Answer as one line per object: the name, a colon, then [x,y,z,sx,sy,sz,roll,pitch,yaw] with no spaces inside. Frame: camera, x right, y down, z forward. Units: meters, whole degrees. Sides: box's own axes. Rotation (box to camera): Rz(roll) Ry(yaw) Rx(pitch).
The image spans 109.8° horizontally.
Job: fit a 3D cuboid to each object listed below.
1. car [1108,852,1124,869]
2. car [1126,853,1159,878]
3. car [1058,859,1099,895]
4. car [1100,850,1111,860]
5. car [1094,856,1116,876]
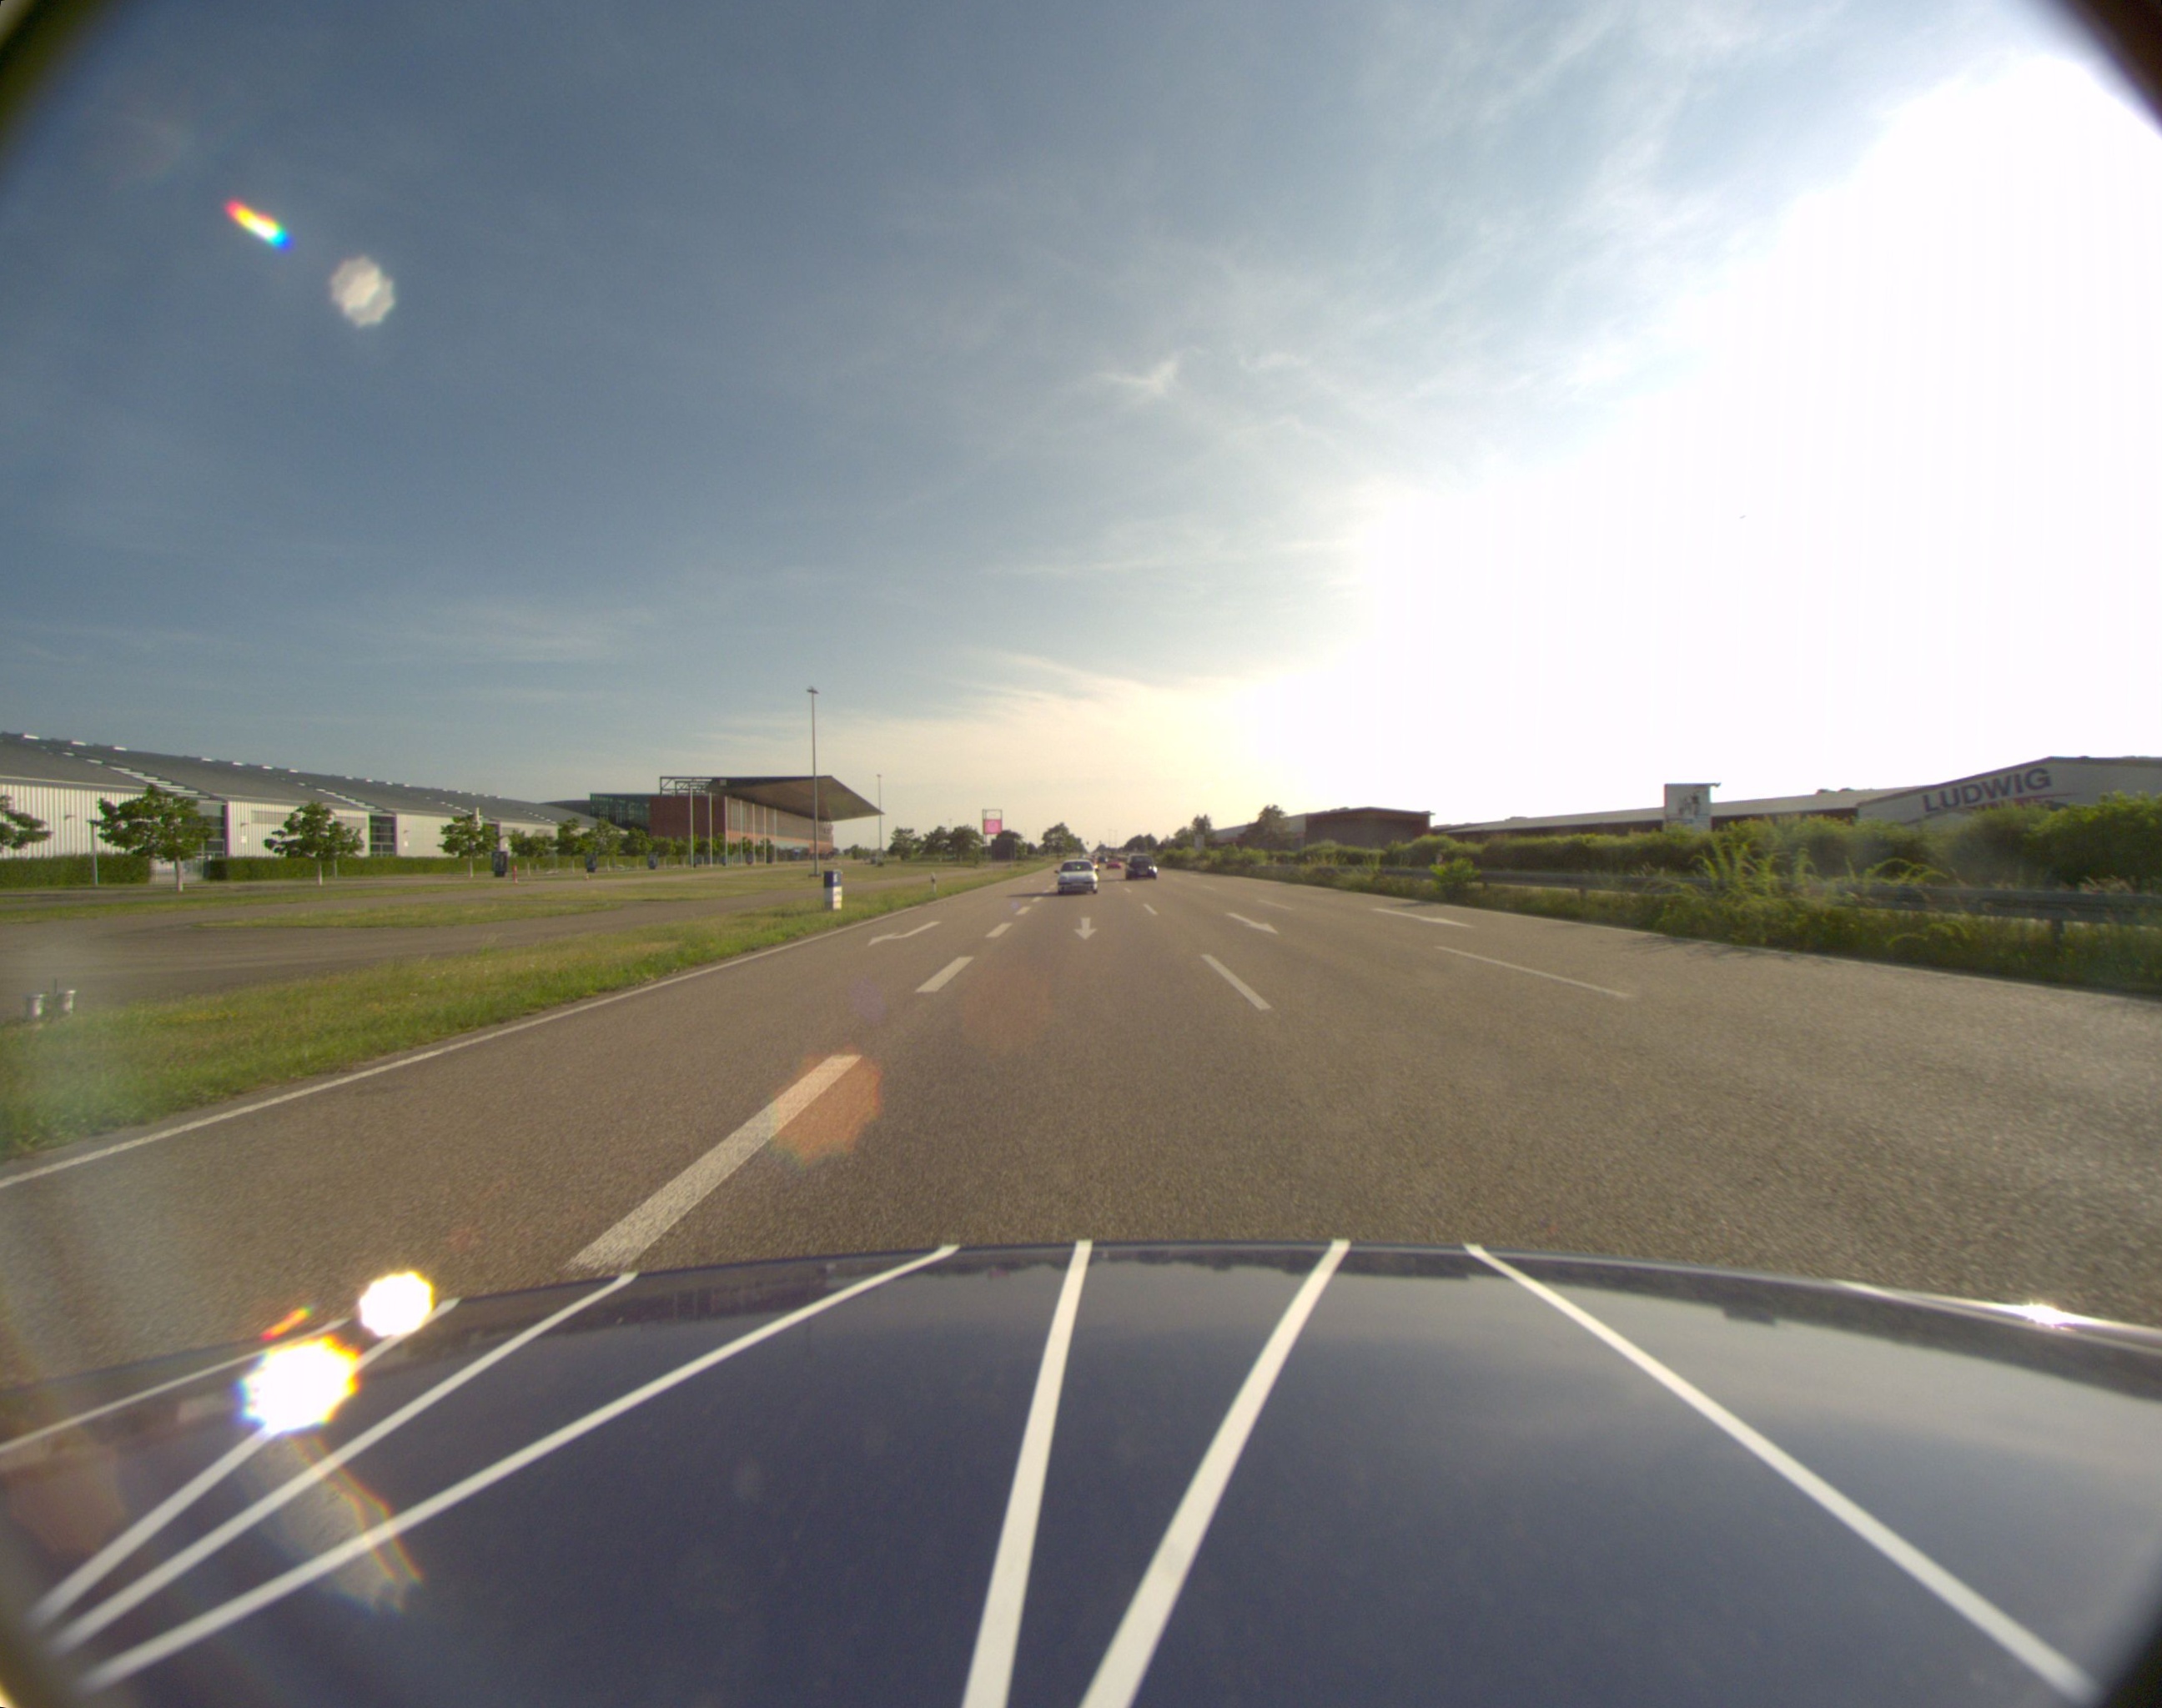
car: [4.220,0.763,91.716,1.799,1.926,4.000,-1,0,1]
car: [3.800,0.703,47.578,1.758,1.499,3.422,-1,0,0]
car: [-0.076,0.919,31.904,1.578,1.371,3.452,-1,0,1]
car: [4.612,0.190,145.483,1.998,2.002,4.000,-1,0,0]
car: [2.001,0.997,64.475,1.751,1.512,3.739,-1,0,1]
